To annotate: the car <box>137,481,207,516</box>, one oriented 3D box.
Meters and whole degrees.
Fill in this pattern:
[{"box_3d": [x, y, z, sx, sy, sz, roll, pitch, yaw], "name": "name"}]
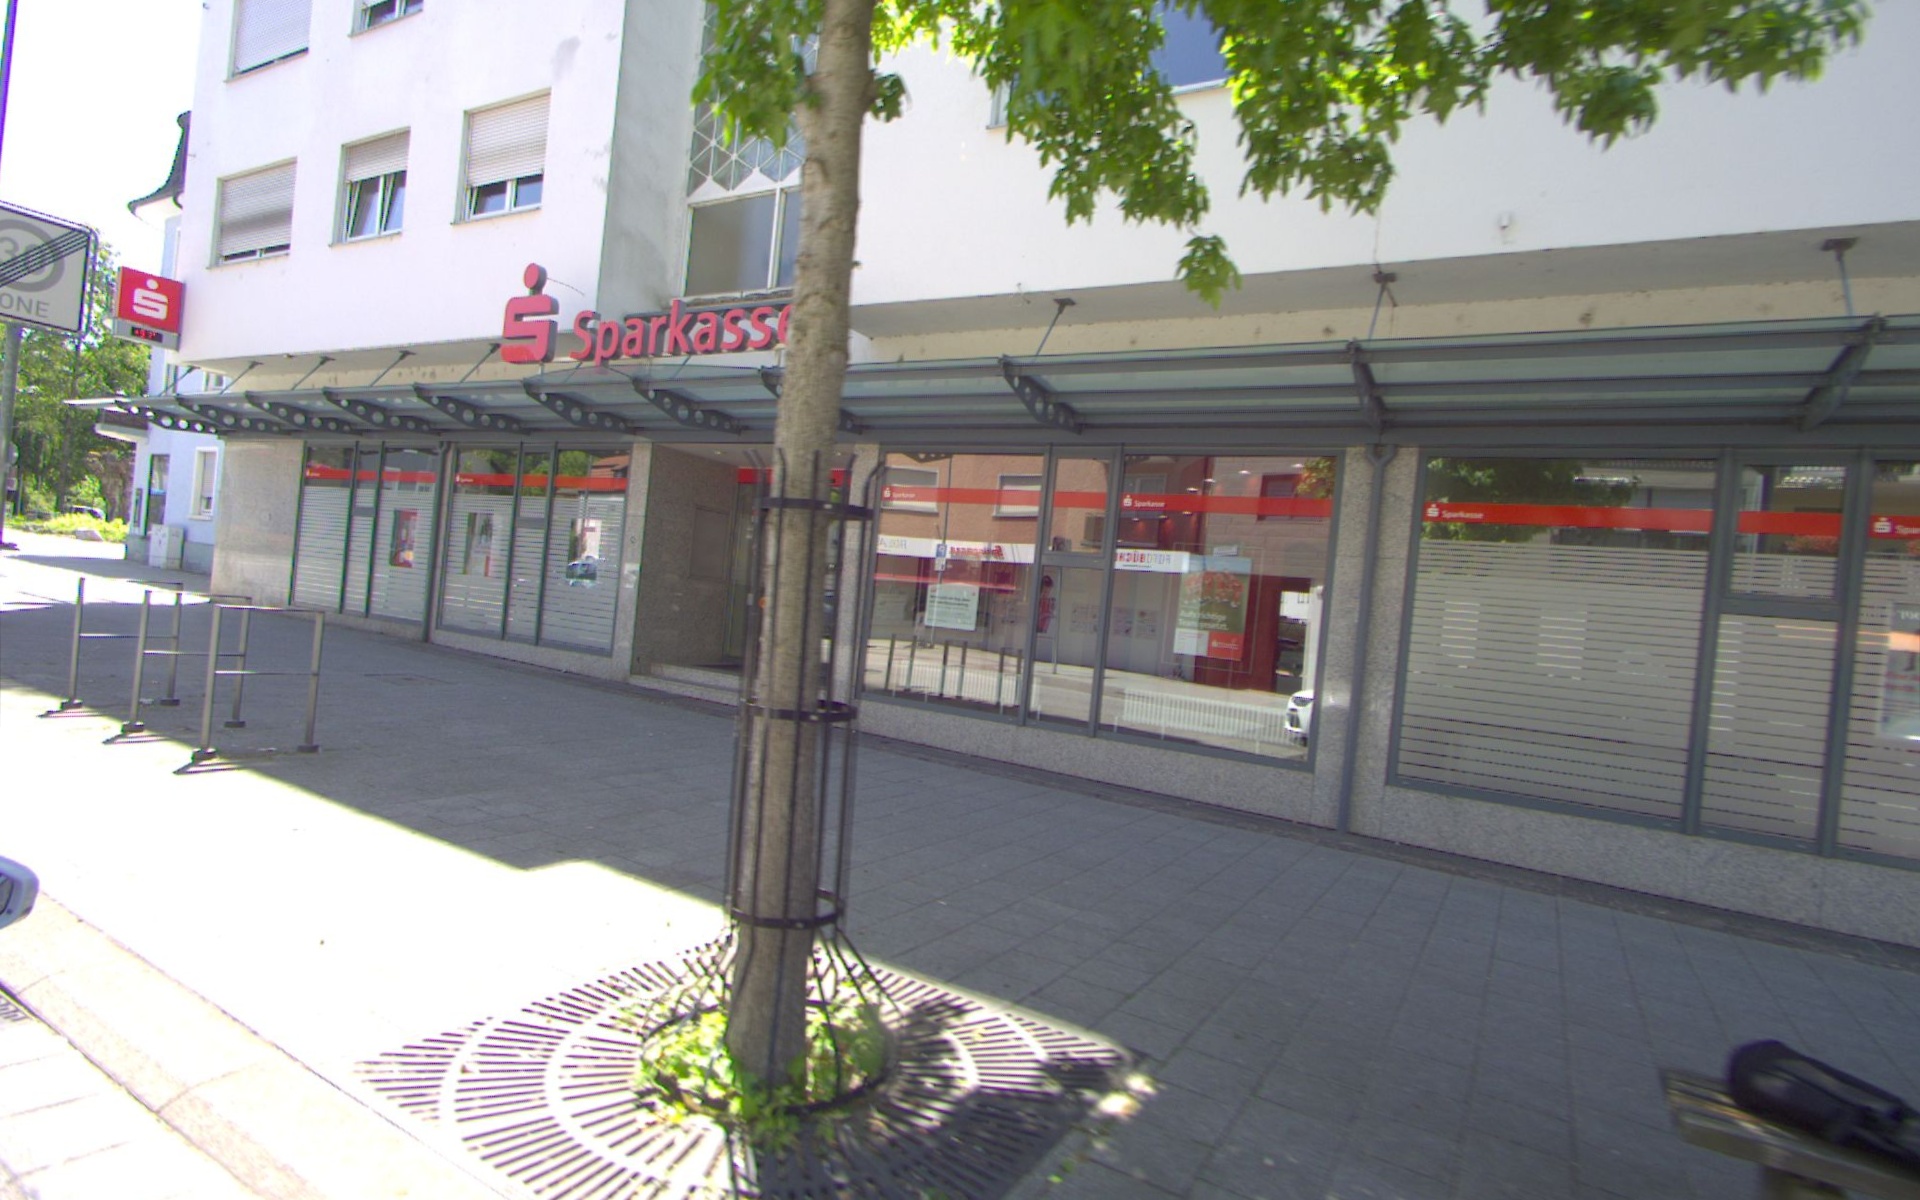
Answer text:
[{"box_3d": [-61.643, -7.916, 78.776, 3.960, 2.039, 1.982, 7, 0, -33], "name": "car"}]
